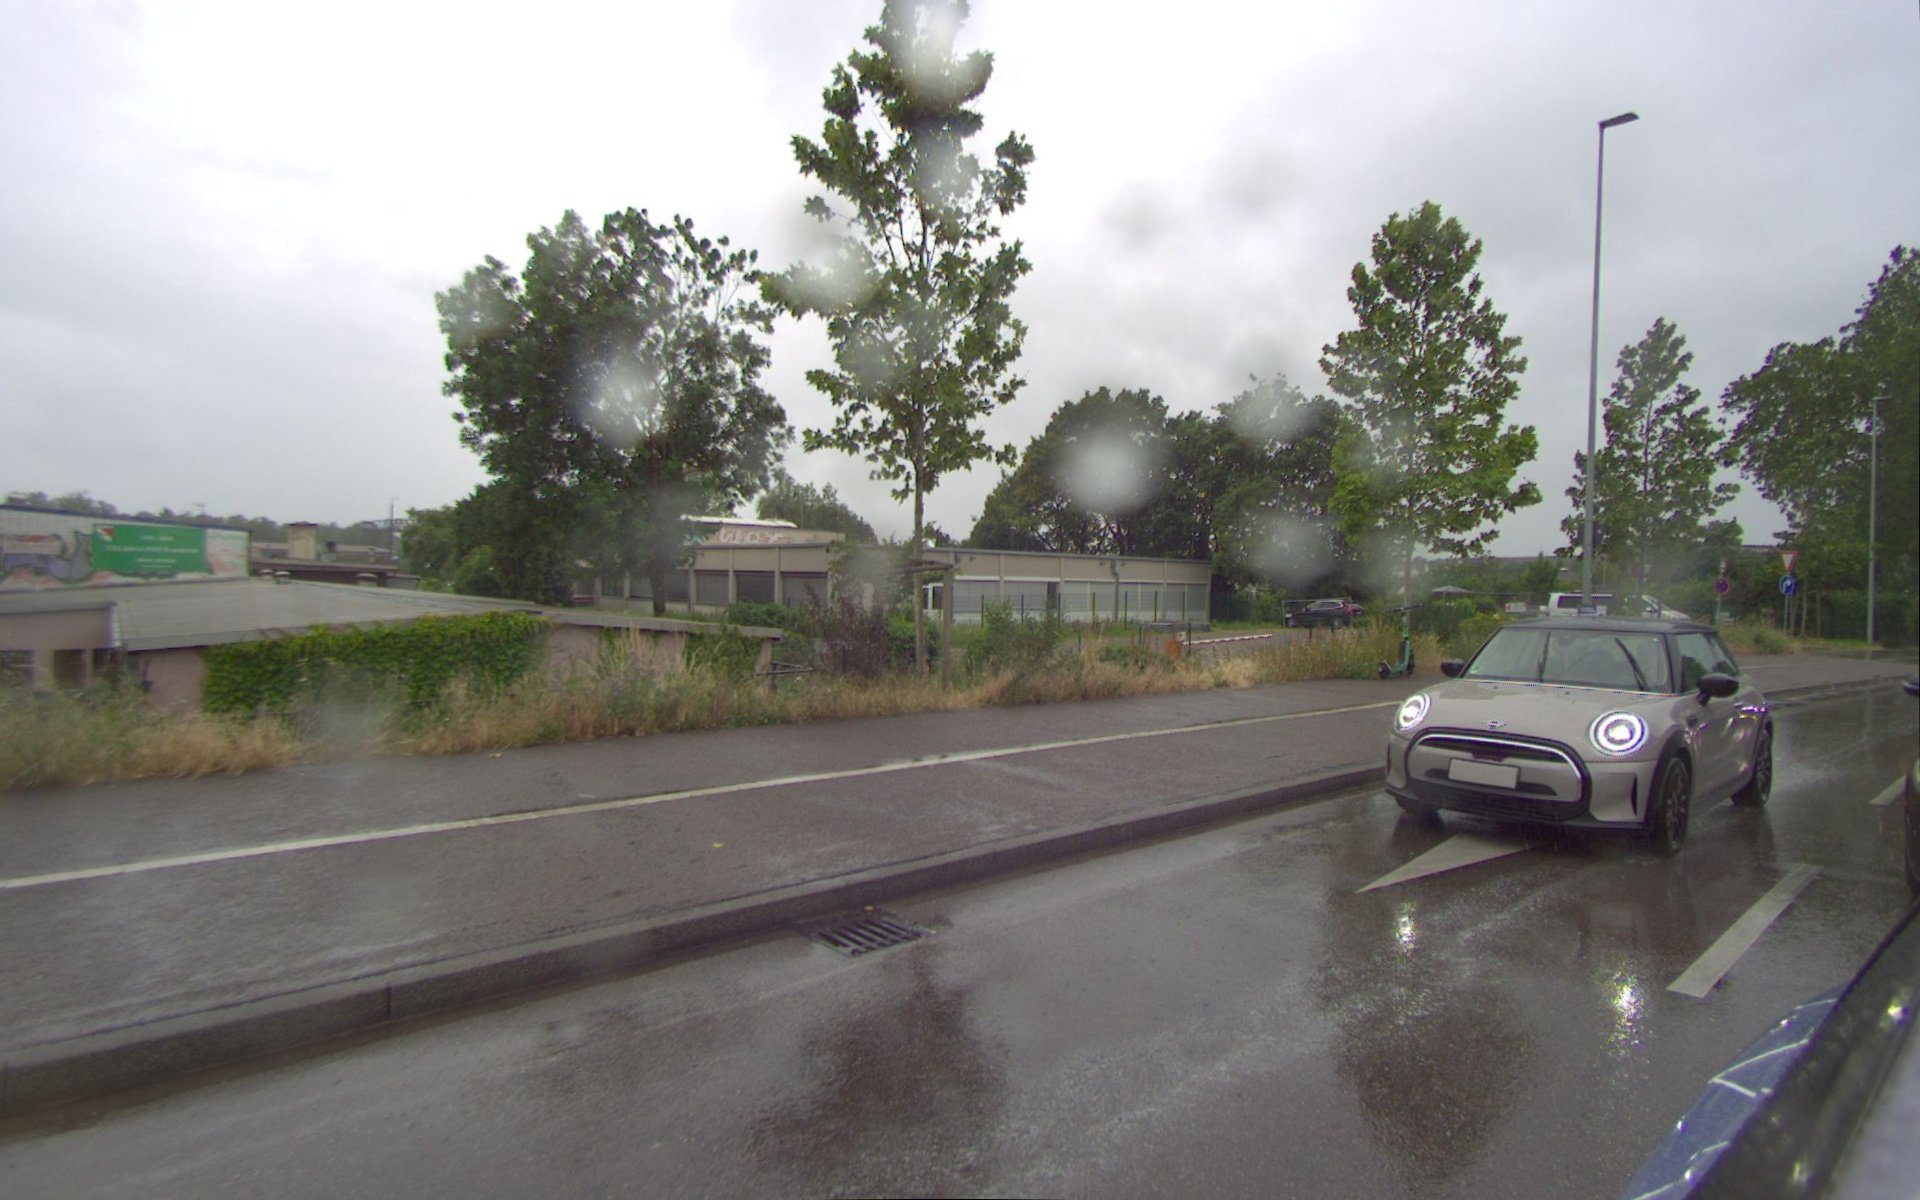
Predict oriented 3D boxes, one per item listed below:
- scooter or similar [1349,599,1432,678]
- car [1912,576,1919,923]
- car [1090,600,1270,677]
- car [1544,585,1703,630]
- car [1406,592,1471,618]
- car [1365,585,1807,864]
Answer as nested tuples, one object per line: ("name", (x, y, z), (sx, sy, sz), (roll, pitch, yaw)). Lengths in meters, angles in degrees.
("scooter or similar", (7.007, 0.599, 16.430), (1.877, 1.214, 0.367), (0, 0, -38))
("car", (6.504, 0.719, 5.436), (4.098, 1.601, 1.756), (1, -1, -43))
("car", (4.026, 0.657, 18.914), (1.319, 1.304, 3.246), (0, 0, -35))
("car", (27.384, 0.311, 41.929), (1.972, 1.747, 5.168), (0, 0, -42))
("car", (30.263, 0.287, 64.093), (1.319, 1.604, 3.555), (0, 0, -35))
("car", (4.740, 0.707, 7.459), (3.811, 1.527, 1.705), (1, -1, -41))
